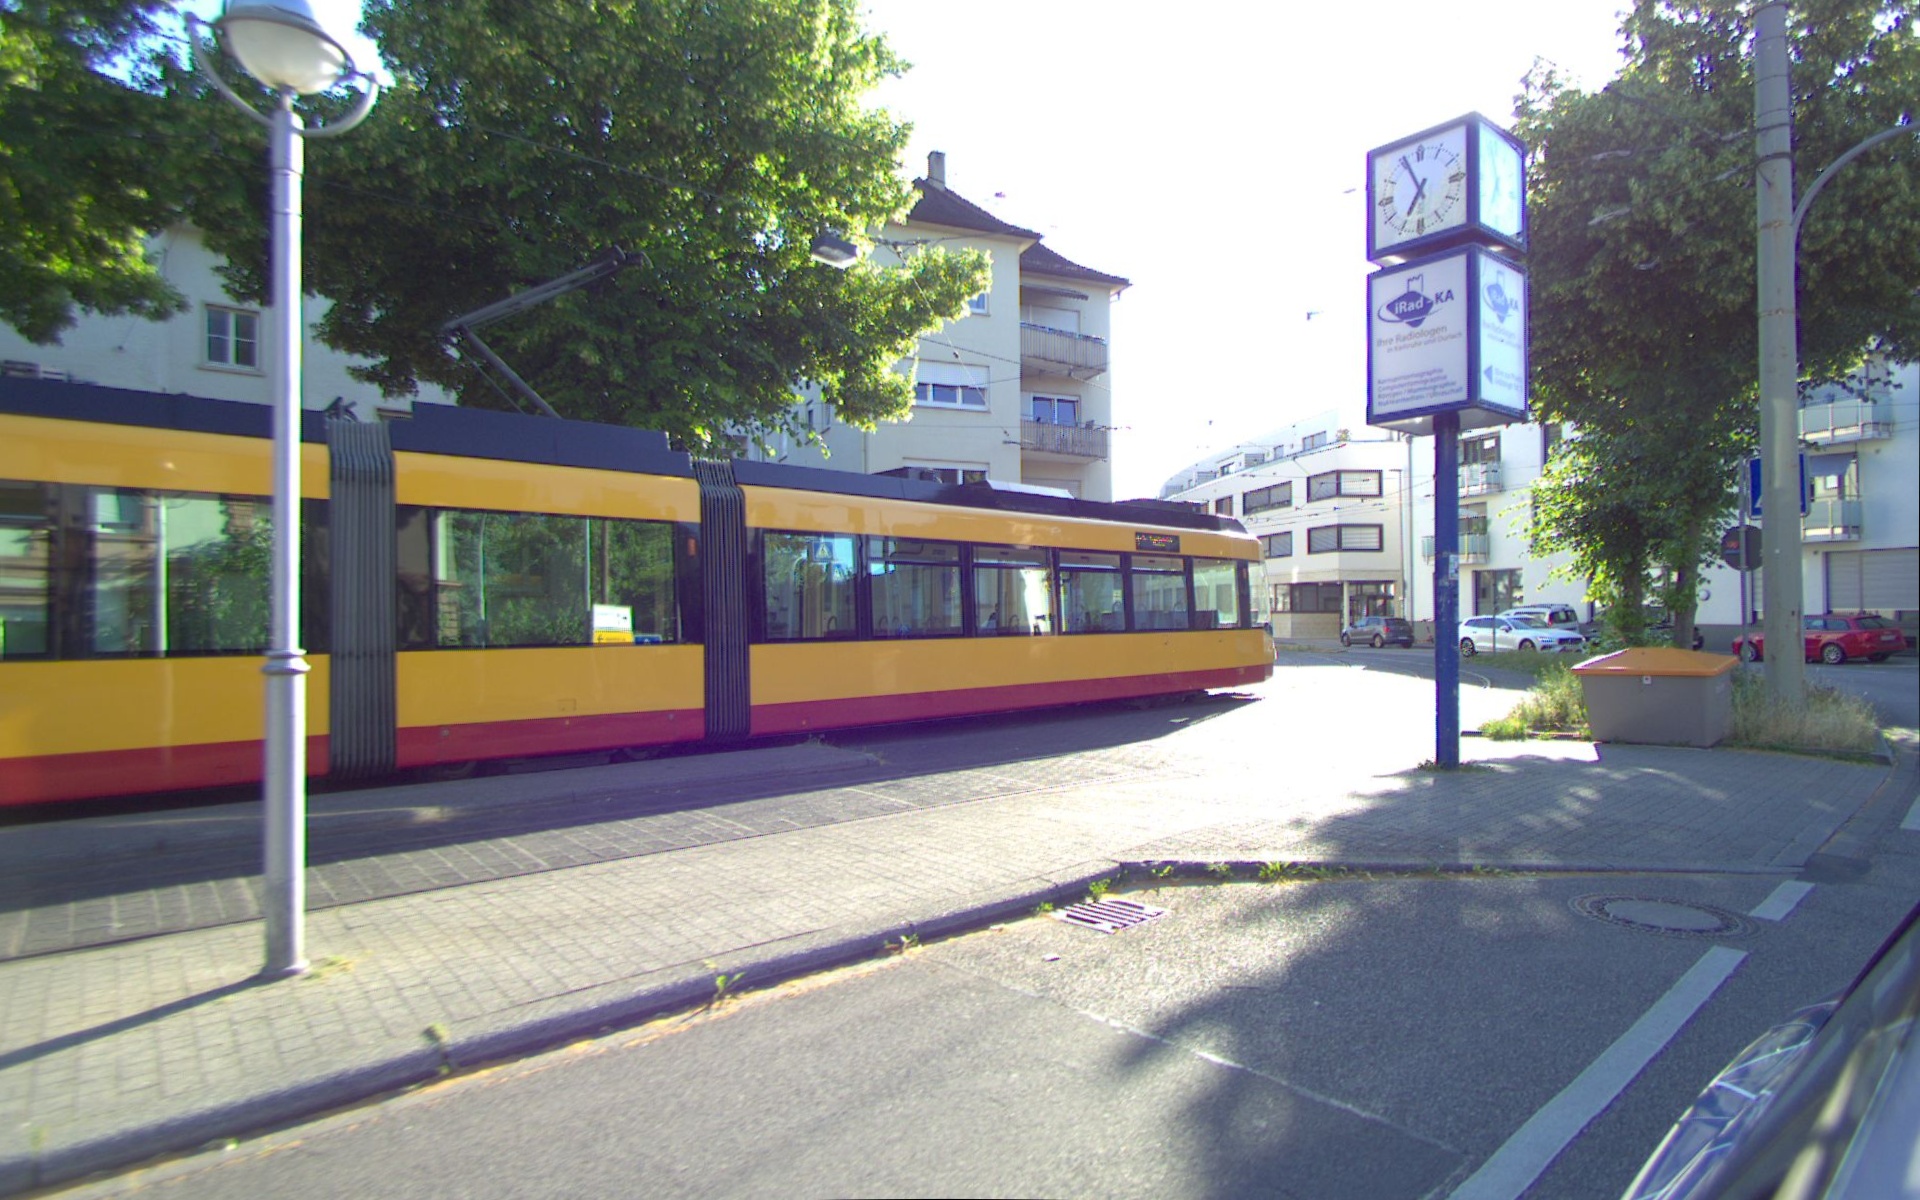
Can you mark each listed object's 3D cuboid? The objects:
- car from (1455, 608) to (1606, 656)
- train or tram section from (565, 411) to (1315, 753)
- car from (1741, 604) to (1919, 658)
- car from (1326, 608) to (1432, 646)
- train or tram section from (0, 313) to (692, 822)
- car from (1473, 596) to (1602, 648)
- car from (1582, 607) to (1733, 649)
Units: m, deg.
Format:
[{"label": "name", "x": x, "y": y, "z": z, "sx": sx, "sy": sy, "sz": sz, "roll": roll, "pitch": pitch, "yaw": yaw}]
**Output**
[{"label": "car", "x": 18.886, "y": 1.015, "z": 33.792, "sx": 1.958, "sy": 1.481, "sz": 4.456, "roll": 0, "pitch": -1, "yaw": -11}, {"label": "train or tram section", "x": 0.969, "y": -0.147, "z": 15.888, "sx": 13.237, "sy": 3.465, "sz": 2.960, "roll": 1, "pitch": 0, "yaw": -43}, {"label": "car", "x": 26.104, "y": 0.928, "z": 30.356, "sx": 1.574, "sy": 1.481, "sz": 4.211, "roll": 0, "pitch": -2, "yaw": -10}, {"label": "car", "x": 19.245, "y": 1.211, "z": 46.732, "sx": 1.958, "sy": 1.604, "sz": 4.944, "roll": 0, "pitch": 0, "yaw": -14}, {"label": "train or tram section", "x": -9.520, "y": -0.255, "z": 6.162, "sx": 15.666, "sy": 3.465, "sz": 2.961, "roll": 1, "pitch": 0, "yaw": -42}, {"label": "car", "x": 23.269, "y": 0.827, "z": 40.966, "sx": 1.958, "sy": 1.981, "sz": 4.281, "roll": 0, "pitch": 0, "yaw": -21}, {"label": "car", "x": 24.587, "y": 0.968, "z": 35.857, "sx": 1.895, "sy": 1.364, "sz": 4.133, "roll": -1, "pitch": -1, "yaw": -14}]
